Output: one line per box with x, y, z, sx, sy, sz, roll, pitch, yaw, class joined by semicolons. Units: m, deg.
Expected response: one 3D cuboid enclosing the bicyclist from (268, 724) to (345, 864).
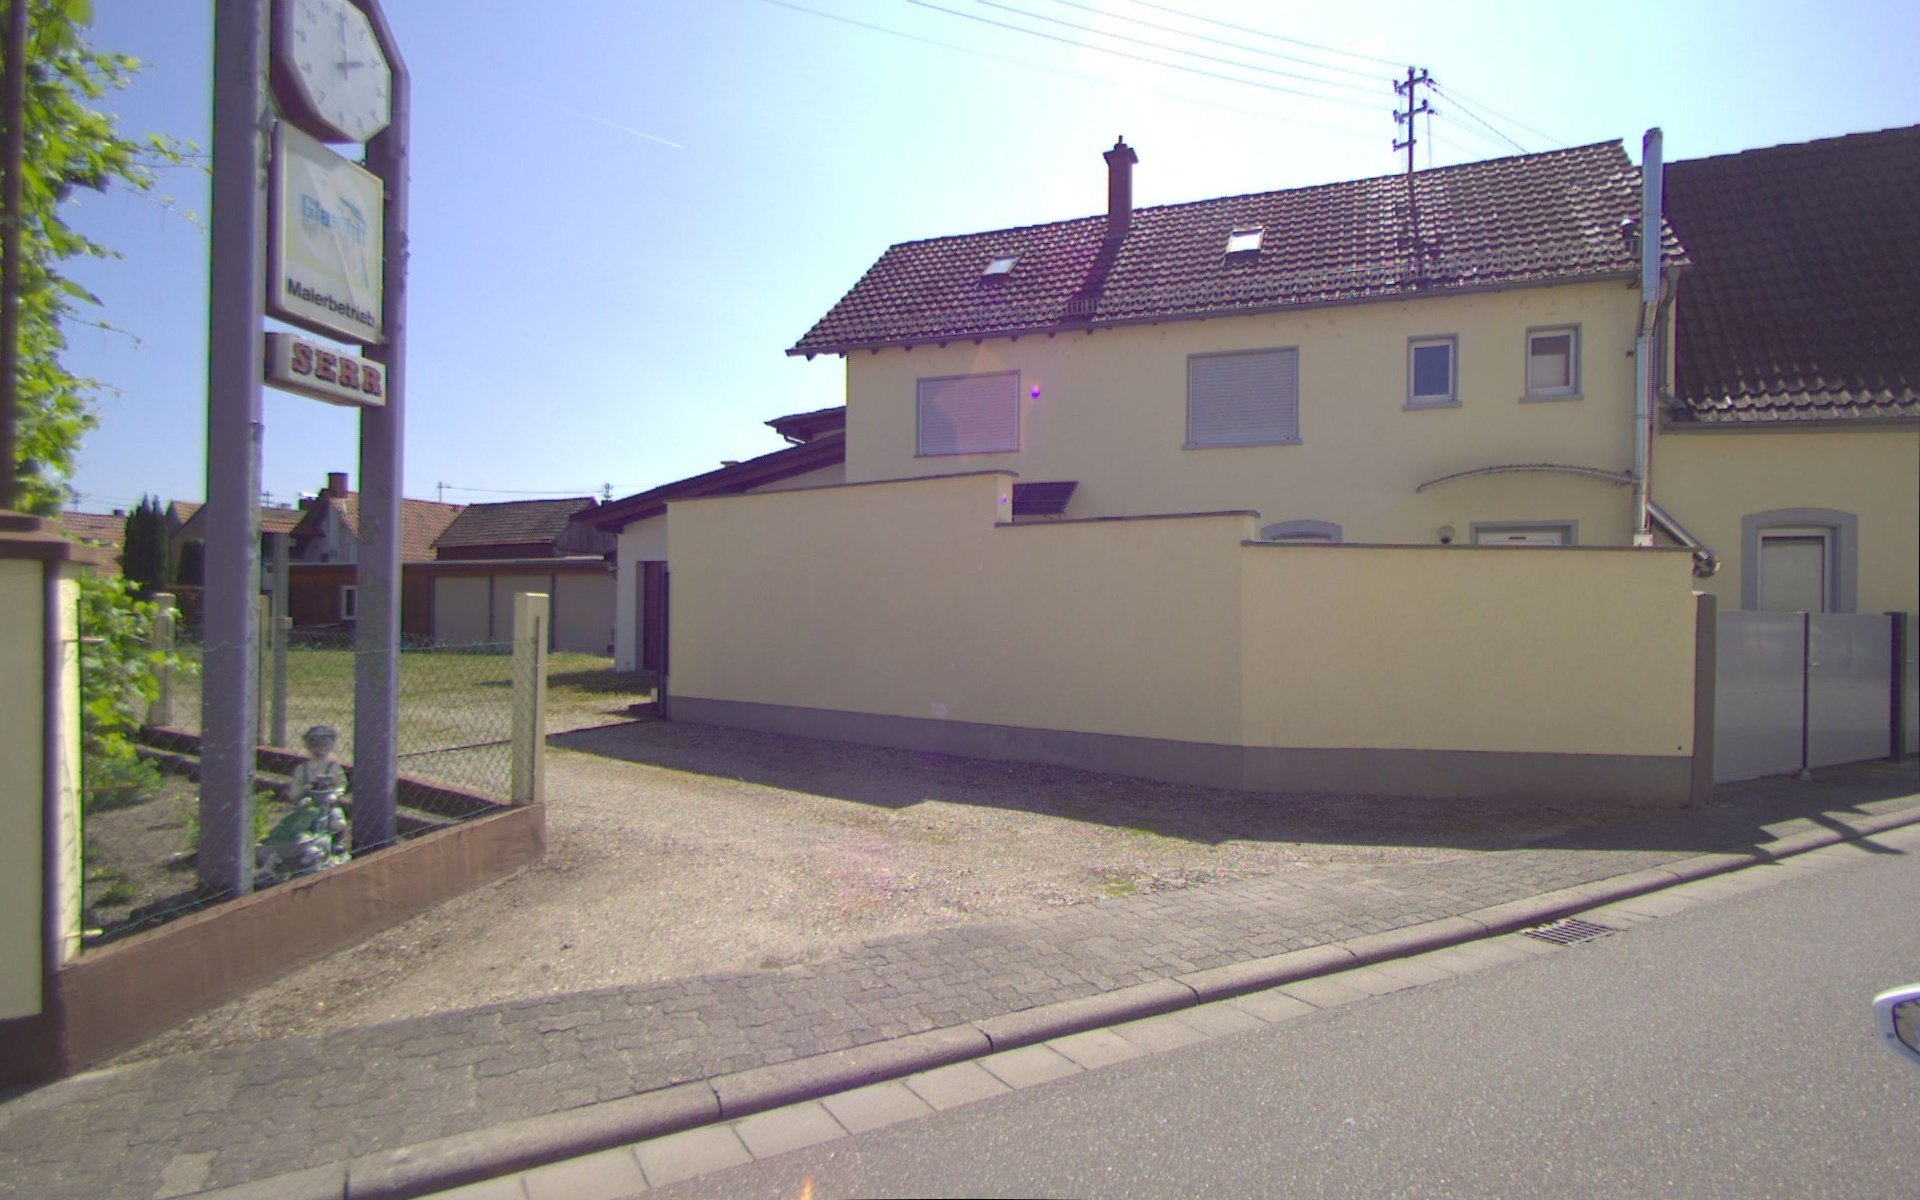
-2.991;0.880;4.606;0.215;0.590;0.246;2;0;-14;bicyclist

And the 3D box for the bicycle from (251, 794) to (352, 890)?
-2.994;1.092;4.587;0.216;0.309;0.534;1;0;-14;bicycle
